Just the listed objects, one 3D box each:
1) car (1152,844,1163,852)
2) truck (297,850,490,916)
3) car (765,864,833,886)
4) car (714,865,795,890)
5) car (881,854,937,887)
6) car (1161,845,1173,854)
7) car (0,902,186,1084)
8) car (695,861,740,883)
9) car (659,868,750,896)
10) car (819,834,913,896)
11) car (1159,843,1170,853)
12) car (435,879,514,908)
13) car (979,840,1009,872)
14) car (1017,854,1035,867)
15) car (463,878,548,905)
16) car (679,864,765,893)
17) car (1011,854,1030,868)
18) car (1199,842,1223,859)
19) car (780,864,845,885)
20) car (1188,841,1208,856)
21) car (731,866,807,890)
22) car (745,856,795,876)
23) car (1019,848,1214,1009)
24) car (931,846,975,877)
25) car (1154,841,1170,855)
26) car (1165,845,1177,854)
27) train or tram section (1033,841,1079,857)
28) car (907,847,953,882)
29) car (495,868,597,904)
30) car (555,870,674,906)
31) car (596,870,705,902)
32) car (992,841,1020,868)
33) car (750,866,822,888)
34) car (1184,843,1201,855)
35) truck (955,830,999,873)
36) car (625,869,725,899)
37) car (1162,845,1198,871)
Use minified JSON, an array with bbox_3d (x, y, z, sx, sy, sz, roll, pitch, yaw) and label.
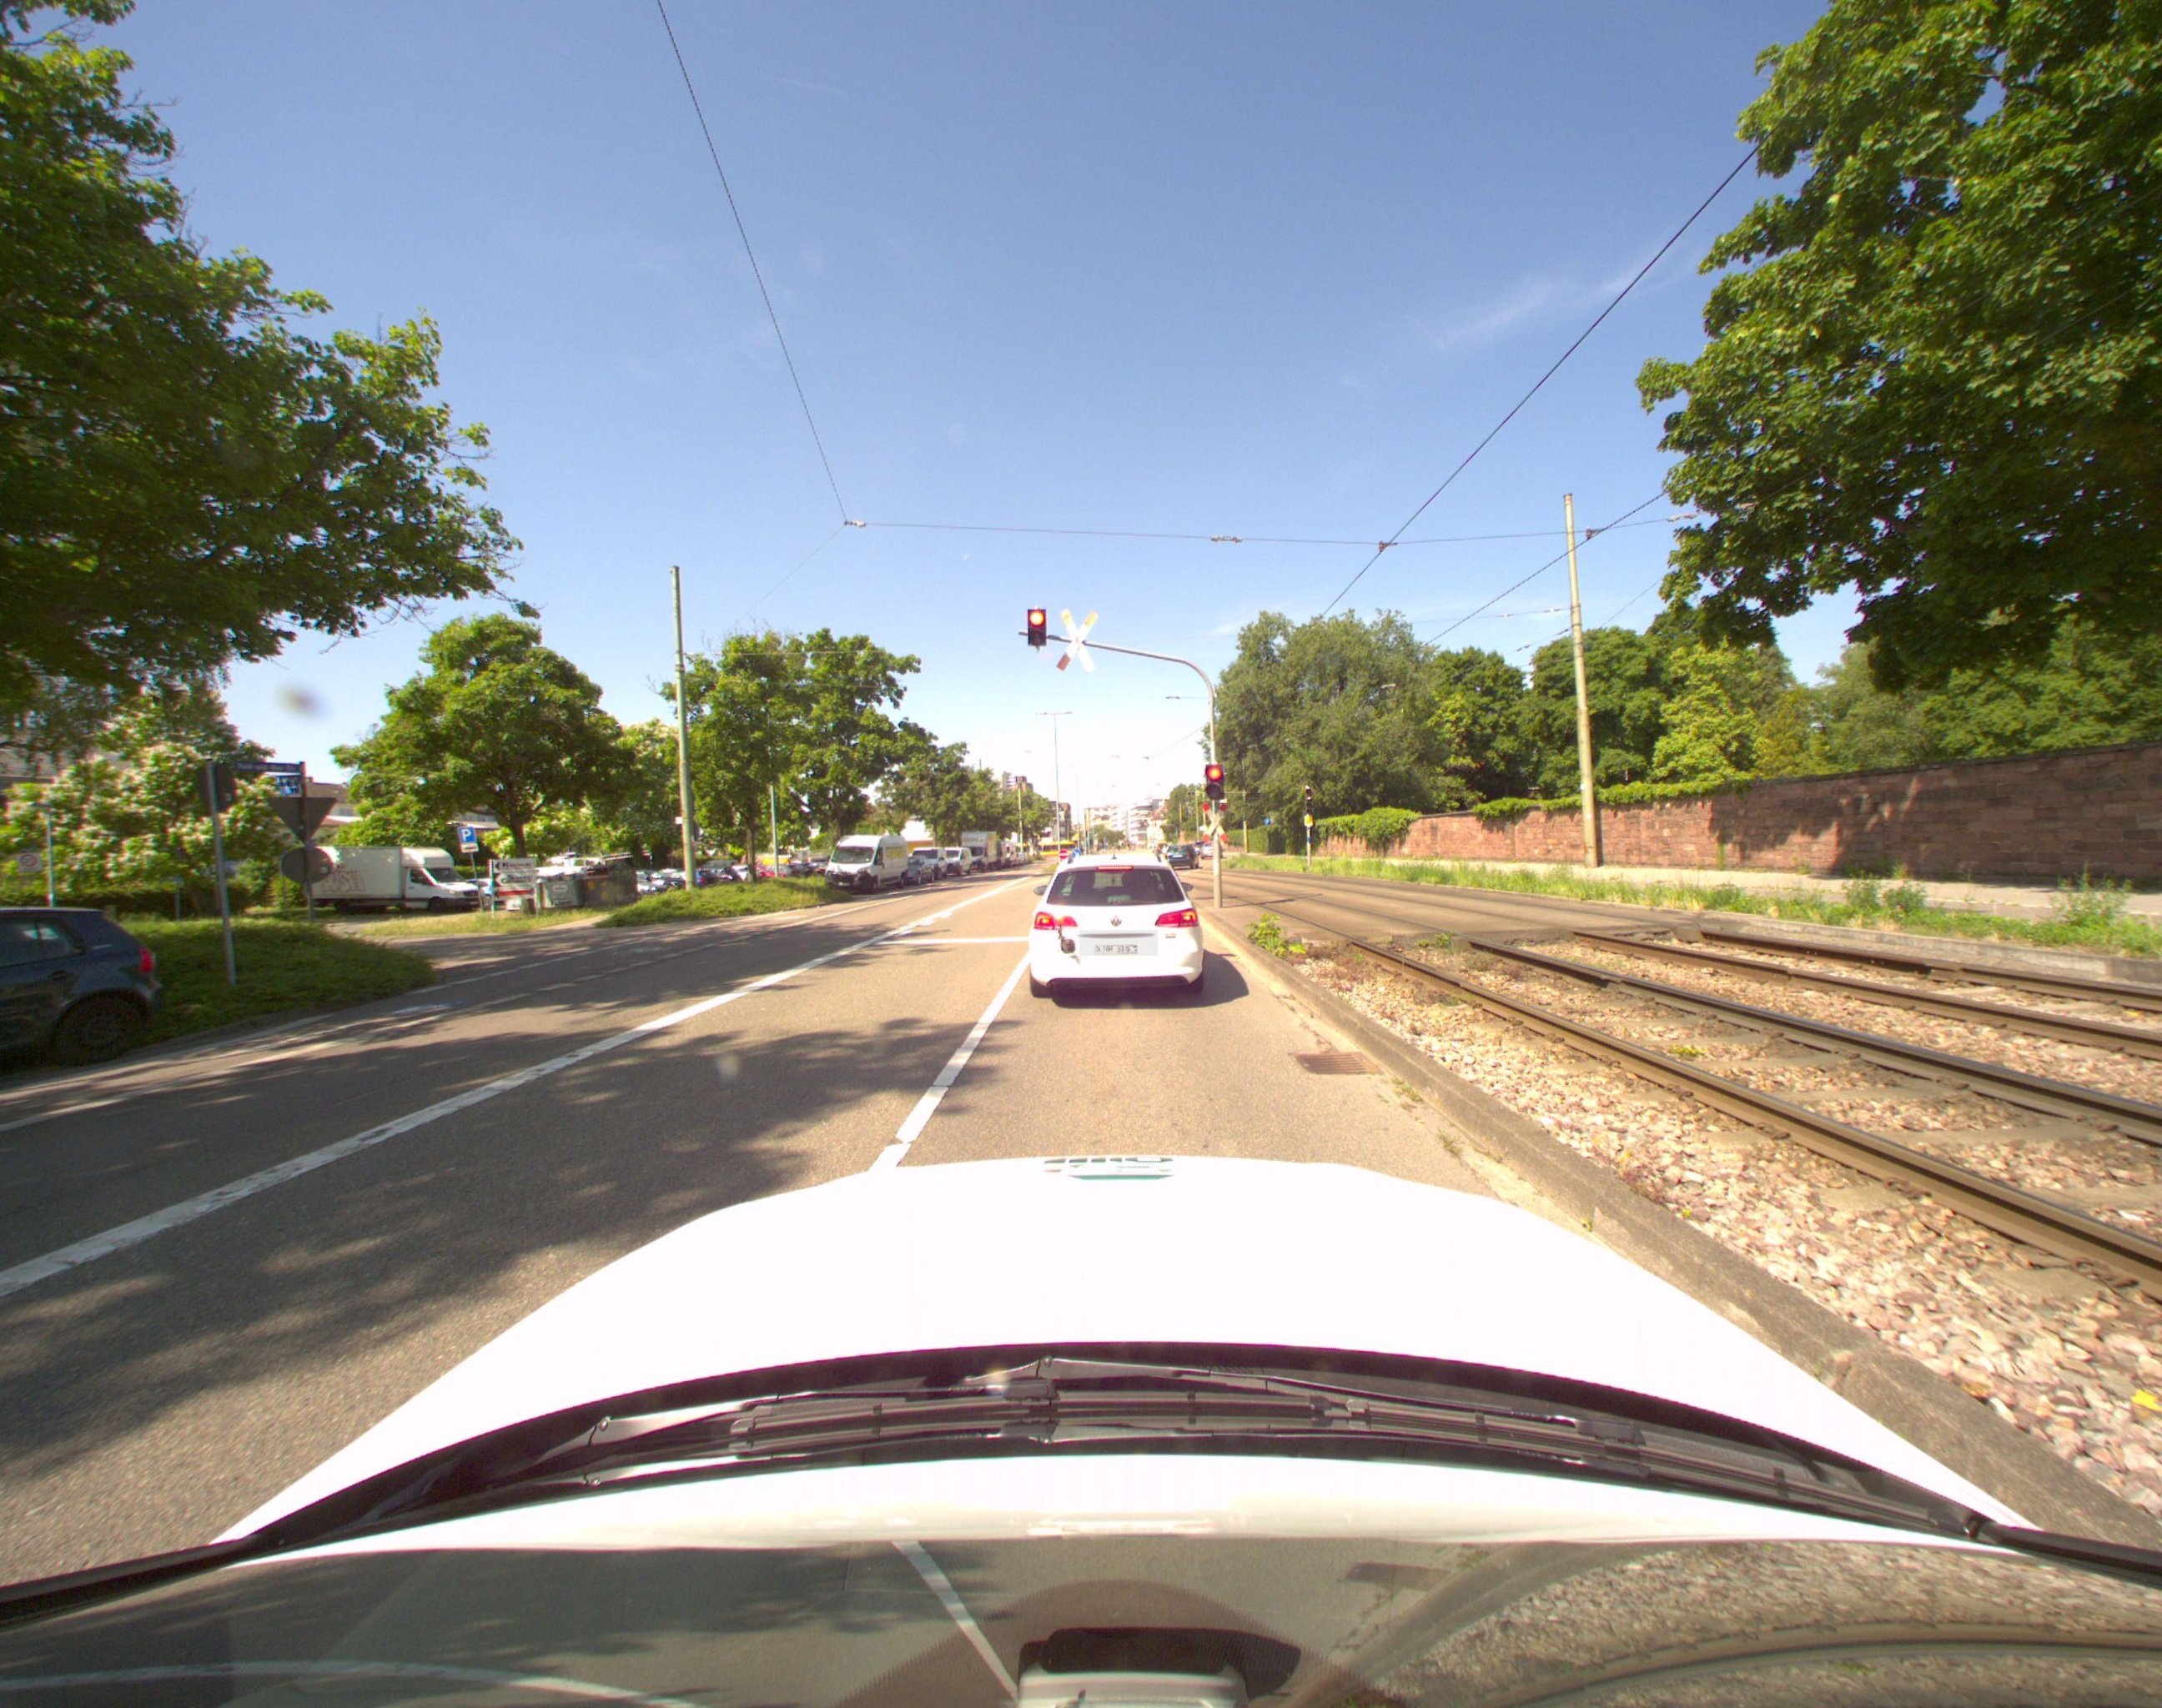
[{"bbox_3d":[15.440,-1.167,165.213,1.986,1.596,4.002,0,0,2],"label":"car"},{"bbox_3d":[-32.293,1.316,38.420,7.119,3.018,2.231,0,0,-1],"label":"truck"},{"bbox_3d":[-19.276,1.435,55.804,3.969,1.225,1.773,-3,0,4],"label":"car"},{"bbox_3d":[-19.356,1.376,48.378,3.969,1.264,1.773,-3,0,4],"label":"car"},{"bbox_3d":[-8.920,0.823,42.478,1.837,1.516,4.199,-3,0,2],"label":"car"},{"bbox_3d":[14.068,-0.755,133.271,1.576,1.346,3.455,0,0,2],"label":"car"},{"bbox_3d":[-10.031,1.234,6.318,1.635,1.450,4.007,0,0,3],"label":"car"},{"bbox_3d":[-34.041,1.703,76.340,3.412,1.876,1.552,-3,0,0],"label":"car"},{"bbox_3d":[-20.039,1.464,43.406,3.969,1.225,1.773,-3,0,4],"label":"car"},{"bbox_3d":[-9.417,0.400,36.268,2.049,2.501,6.315,0,1,5],"label":"car"},{"bbox_3d":[14.488,-1.015,141.700,1.685,1.812,3.455,0,0,2],"label":"car"},{"bbox_3d":[-32.359,2.101,43.499,3.118,1.432,1.560,1,1,5],"label":"car"},{"bbox_3d":[-7.647,0.175,72.186,1.836,2.668,5.006,-3,0,2],"label":"car"},{"bbox_3d":[-6.761,0.752,100.303,1.774,1.433,4.040,-3,0,2],"label":"car"},{"bbox_3d":[-32.586,2.100,46.150,3.754,1.356,1.560,1,1,5],"label":"car"},{"bbox_3d":[-20.135,1.375,45.808,3.969,1.350,1.773,-3,0,4],"label":"car"},{"bbox_3d":[-7.108,0.810,95.960,1.837,1.433,4.040,-3,0,2],"label":"car"},{"bbox_3d":[11.263,-0.335,70.396,1.849,1.416,4.339,0,1,11],"label":"car"},{"bbox_3d":[-19.081,1.451,57.920,3.969,1.225,1.773,-3,0,4],"label":"car"},{"bbox_3d":[12.179,-0.560,84.715,1.852,1.513,3.918,0,0,5],"label":"car"},{"bbox_3d":[-19.472,1.486,50.899,3.969,1.225,1.773,-3,0,4],"label":"car"},{"bbox_3d":[-31.053,1.183,81.373,4.249,2.014,1.997,0,0,-5],"label":"car"},{"bbox_3d":[0.359,0.664,9.359,1.762,1.446,3.914,0,0,1],"label":"car"},{"bbox_3d":[-8.682,0.457,55.678,1.836,1.960,5.137,-3,0,2],"label":"car"},{"bbox_3d":[15.245,-1.172,153.322,2.454,2.499,5.912,0,0,2],"label":"car"},{"bbox_3d":[13.741,-0.677,124.480,1.576,1.346,3.455,0,0,2],"label":"car"},{"bbox_3d":[-5.655,-1.079,178.844,11.128,3.253,2.323,-1,-1,38],"label":"train or tram section"},{"bbox_3d":[-9.053,0.576,49.247,1.839,1.937,5.190,-3,0,-2],"label":"car"},{"bbox_3d":[-31.904,1.877,48.680,4.683,2.014,1.998,0,0,-3],"label":"car"},{"bbox_3d":[-19.837,1.432,34.756,3.974,1.225,1.771,-3,0,0],"label":"car"},{"bbox_3d":[-19.689,1.446,37.372,3.974,1.225,1.771,-3,0,0],"label":"car"},{"bbox_3d":[-7.310,0.017,79.694,1.836,2.494,5.860,-3,0,2],"label":"car"},{"bbox_3d":[-19.336,1.503,53.470,3.969,1.225,1.773,-3,0,4],"label":"car"},{"bbox_3d":[13.169,-0.613,96.192,1.738,1.407,3.916,0,0,3],"label":"car"},{"bbox_3d":[-8.101,-0.239,64.178,2.348,3.122,6.893,-3,0,1],"label":"truck"},{"bbox_3d":[-19.881,1.459,39.994,3.969,1.225,1.773,-3,0,4],"label":"car"},{"bbox_3d":[5.607,0.180,45.729,1.735,1.388,3.925,-1,0,11],"label":"car"}]
